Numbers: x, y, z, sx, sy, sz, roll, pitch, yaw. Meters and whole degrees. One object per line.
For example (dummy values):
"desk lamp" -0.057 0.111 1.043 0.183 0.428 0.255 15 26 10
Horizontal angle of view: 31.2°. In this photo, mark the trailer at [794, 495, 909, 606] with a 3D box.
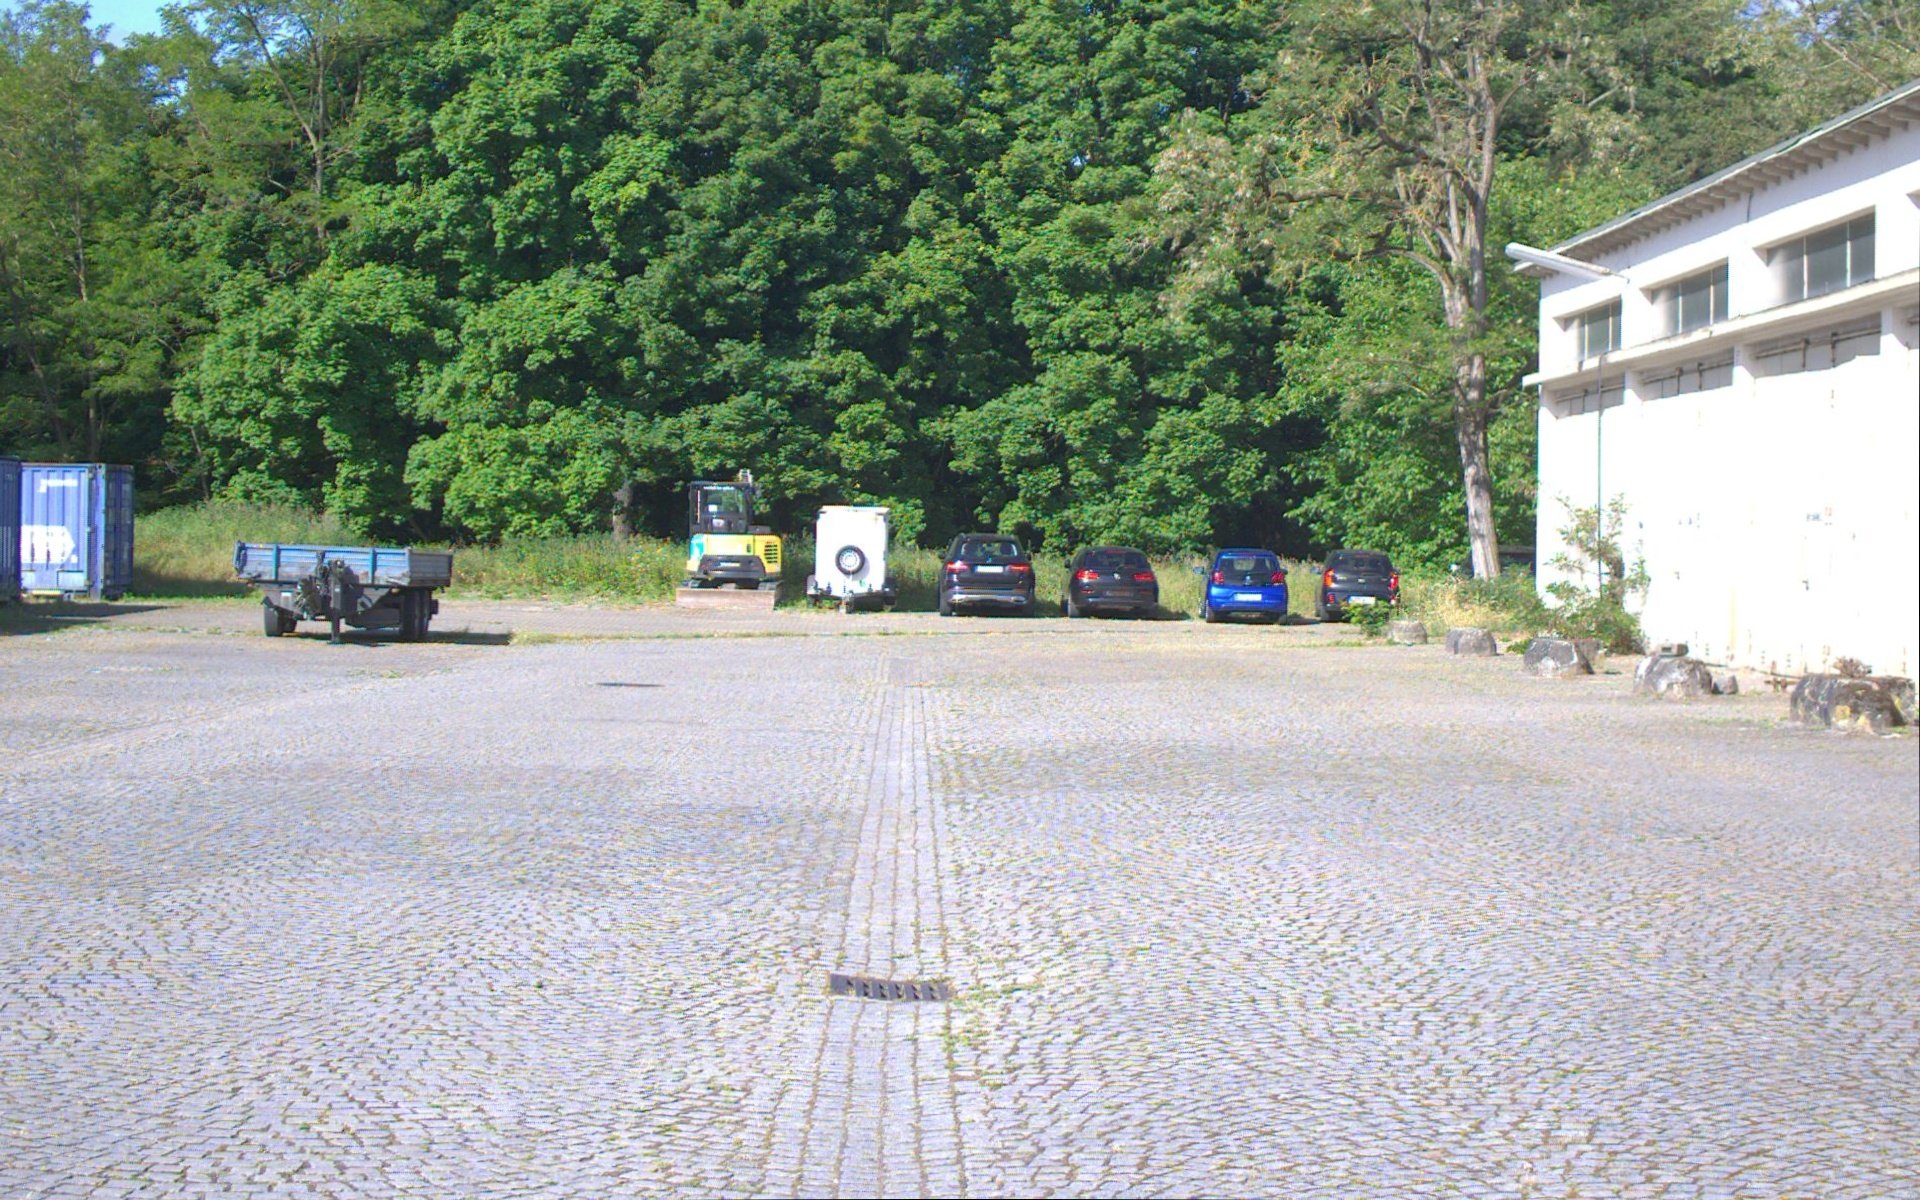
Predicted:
"trailer" -2.211 -1.069 70.964 2.193 2.087 5.752 2 2 -1

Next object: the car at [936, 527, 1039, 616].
"car" 0.519 -0.590 68.611 1.863 1.584 4.296 2 2 -1

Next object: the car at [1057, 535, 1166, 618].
"car" 3.004 -0.502 68.997 1.863 1.465 4.296 2 2 -1

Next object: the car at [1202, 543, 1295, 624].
"car" 5.770 -0.360 68.958 1.744 1.431 4.182 3 2 4

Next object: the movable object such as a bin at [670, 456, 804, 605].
"movable object such as a bin" -4.592 -1.493 71.535 2.306 2.887 5.751 2 2 0

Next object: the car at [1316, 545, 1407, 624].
"car" 8.202 -0.337 70.384 1.744 1.431 4.182 3 2 6

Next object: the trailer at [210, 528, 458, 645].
"trailer" -9.148 -0.251 50.834 2.705 1.460 6.248 2 1 -2
